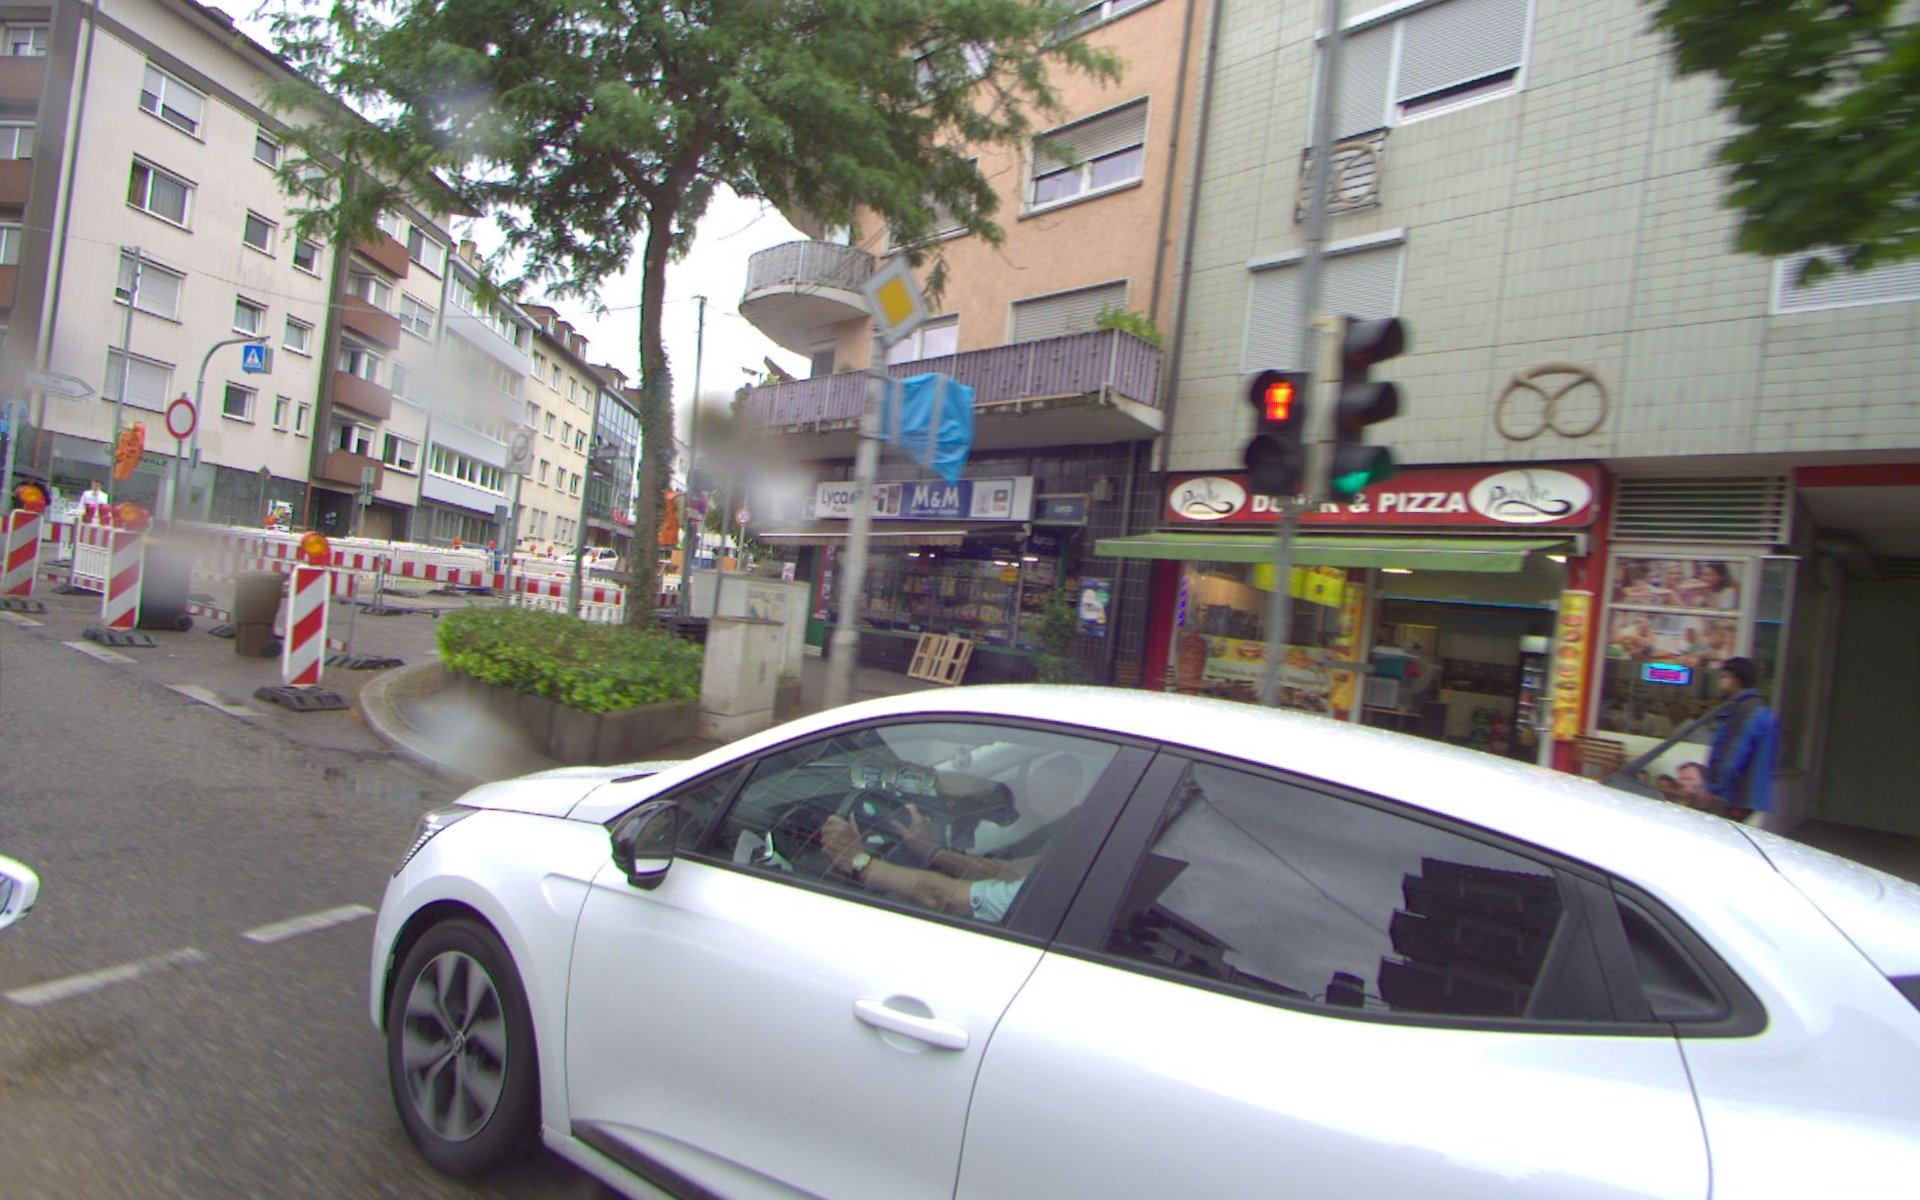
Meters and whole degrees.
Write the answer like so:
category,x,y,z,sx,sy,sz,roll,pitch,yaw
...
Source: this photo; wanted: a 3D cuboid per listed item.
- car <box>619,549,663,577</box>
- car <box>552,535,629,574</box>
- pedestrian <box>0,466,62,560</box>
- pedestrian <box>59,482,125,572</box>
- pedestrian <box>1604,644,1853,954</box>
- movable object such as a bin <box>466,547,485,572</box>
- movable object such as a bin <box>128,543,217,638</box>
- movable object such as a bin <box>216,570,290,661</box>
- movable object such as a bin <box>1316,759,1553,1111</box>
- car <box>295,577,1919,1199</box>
category,x,y,z,sx,sy,sz,roll,pitch,yaw
car,-22.483,-2.587,71.093,1.893,1.623,3.996,7,0,-3
car,-19.927,-2.408,54.475,1.962,1.743,4.797,5,1,4
pedestrian,-20.161,-1.852,21.516,1.014,1.884,0.917,4,0,-12
pedestrian,-19.382,-1.603,22.473,0.647,1.903,0.991,4,0,-14
pedestrian,5.107,1.257,6.714,0.959,1.815,0.899,4,1,-30
movable object such as a bin,-22.804,-1.913,47.328,0.521,1.059,0.539,7,-2,-1
movable object such as a bin,-9.449,-0.108,12.072,0.522,1.045,0.621,8,2,29
movable object such as a bin,-7.828,0.175,11.141,0.522,0.941,0.420,8,2,29
movable object such as a bin,1.931,1.292,4.089,0.655,1.126,0.577,8,3,35
car,0.162,0.852,2.568,3.936,1.421,1.676,6,1,34
